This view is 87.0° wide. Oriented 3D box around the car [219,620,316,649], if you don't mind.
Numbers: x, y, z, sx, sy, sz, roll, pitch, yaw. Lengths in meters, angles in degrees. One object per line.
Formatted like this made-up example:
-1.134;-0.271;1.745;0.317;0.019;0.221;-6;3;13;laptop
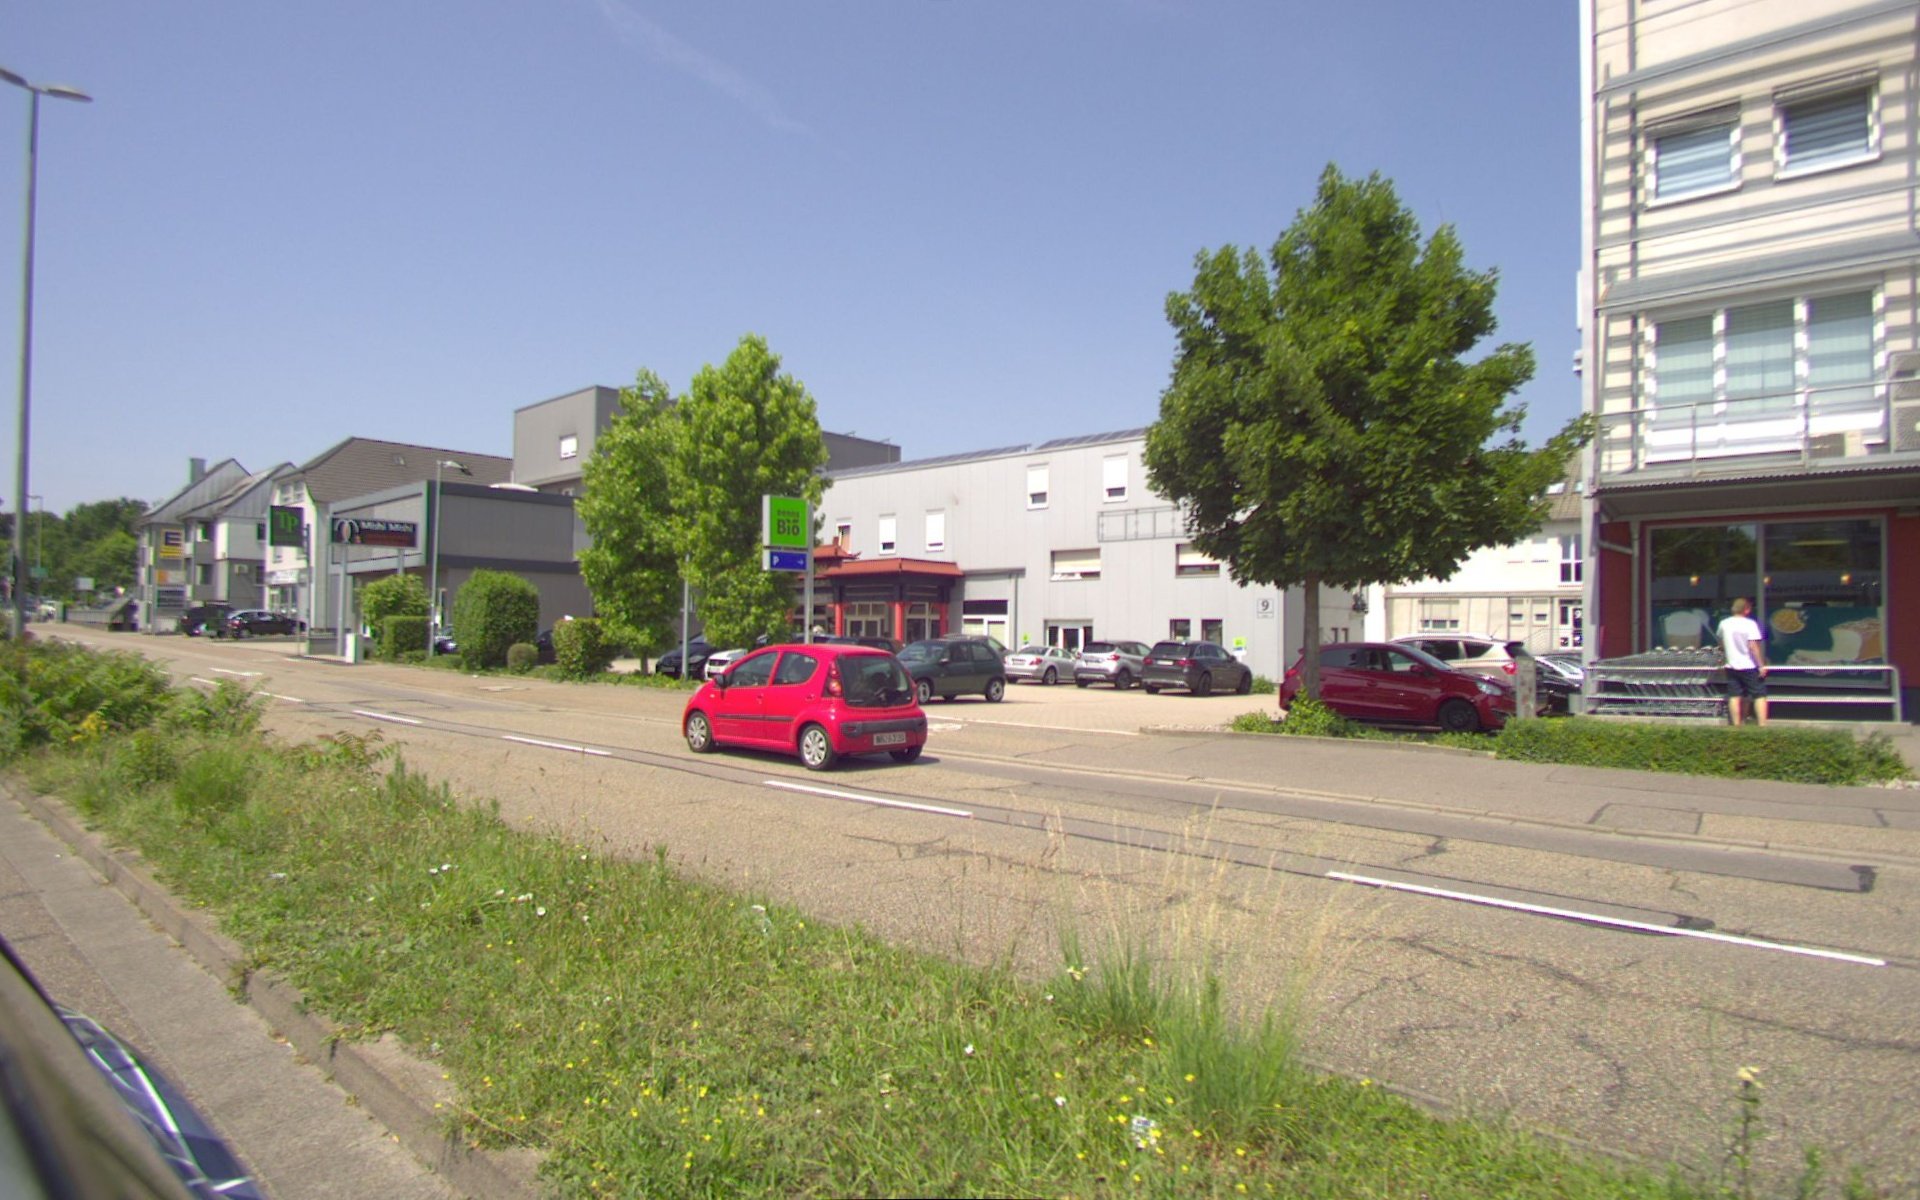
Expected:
-38.498;1.930;56.339;1.997;1.532;4.018;0;-2;37;car

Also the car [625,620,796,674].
-6.692;1.282;27.452;2.040;1.352;4.108;-1;-3;38;car

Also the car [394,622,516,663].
-19.513;1.632;39.256;1.572;1.470;3.951;1;-1;36;car

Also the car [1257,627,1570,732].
8.466;1.428;19.258;5.162;1.747;1.741;-1;-5;41;car

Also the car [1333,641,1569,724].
9.890;1.617;20.543;3.999;1.476;1.720;-1;-4;42;car

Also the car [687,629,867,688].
-4.551;1.473;25.623;1.979;1.359;4.180;-1;-4;40;car

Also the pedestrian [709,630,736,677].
-8.191;1.834;34.929;0.703;1.590;0.574;1;1;40;pedestrian

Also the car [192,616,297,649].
-40.789;1.808;57.805;1.747;1.507;4.570;-1;2;32;car

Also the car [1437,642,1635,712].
14.149;1.851;24.965;3.998;1.546;1.681;-1;-4;41;car

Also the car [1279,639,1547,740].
7.486;1.431;16.906;3.795;1.478;1.642;-1;-5;40;car

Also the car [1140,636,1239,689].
6.943;1.823;30.398;1.760;1.471;3.808;-1;-2;32;car

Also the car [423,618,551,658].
-17.597;1.444;37.762;1.669;1.382;3.953;-2;-5;43;car

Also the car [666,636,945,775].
-2.001;1.206;12.660;3.449;1.435;1.613;-1;-2;42;car

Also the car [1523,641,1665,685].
22.789;2.223;36.474;1.707;1.462;4.007;2;-2;-39;car

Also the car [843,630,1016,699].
-0.597;1.390;22.130;1.779;1.375;3.619;-2;-4;41;car

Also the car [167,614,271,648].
-43.354;1.770;59.283;1.852;1.639;4.559;0;2;40;car

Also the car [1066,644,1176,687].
5.298;2.091;32.990;1.859;1.295;3.798;-1;-2;41;car

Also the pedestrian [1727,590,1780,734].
10.673;0.824;13.608;0.498;1.881;0.668;-2;-3;41;pedestrian

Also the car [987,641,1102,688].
2.940;2.212;34.636;2.070;1.478;3.935;-1;-4;38;car

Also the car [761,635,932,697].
-2.616;1.533;24.046;1.858;1.344;3.799;-1;-4;40;car

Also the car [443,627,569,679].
-15.310;1.756;34.223;1.777;1.541;3.444;1;1;42;car

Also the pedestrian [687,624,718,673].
-8.686;1.621;34.173;0.825;1.596;0.635;1;1;40;pedestrian
